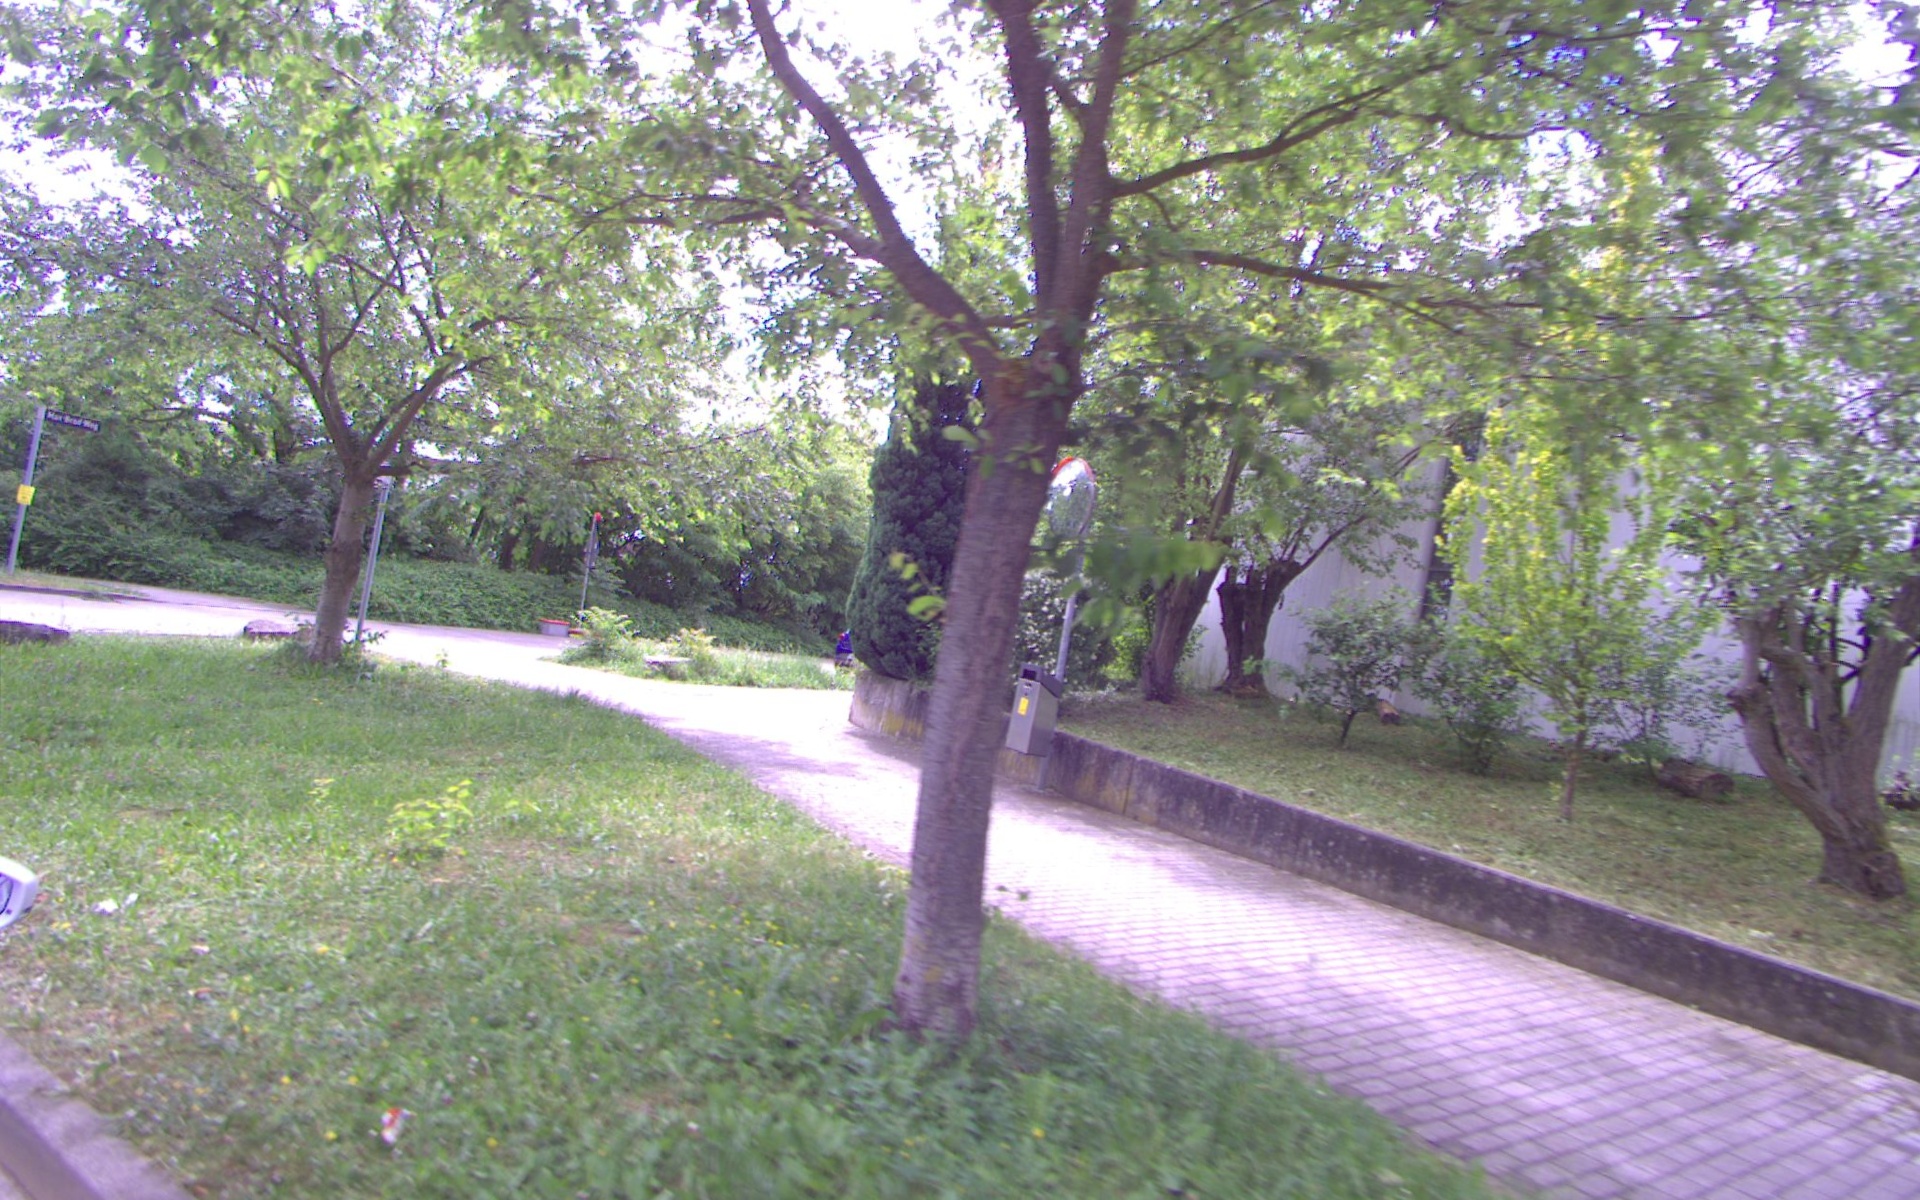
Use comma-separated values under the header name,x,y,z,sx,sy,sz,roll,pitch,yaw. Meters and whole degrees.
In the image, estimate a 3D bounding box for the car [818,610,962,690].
name,x,y,z,sx,sy,sz,roll,pitch,yaw
car,-1.761,1.376,26.580,1.699,1.680,3.997,7,-2,30

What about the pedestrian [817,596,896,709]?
name,x,y,z,sx,sy,sz,roll,pitch,yaw
pedestrian,-1.725,0.890,16.900,0.772,1.757,0.834,7,-1,30
